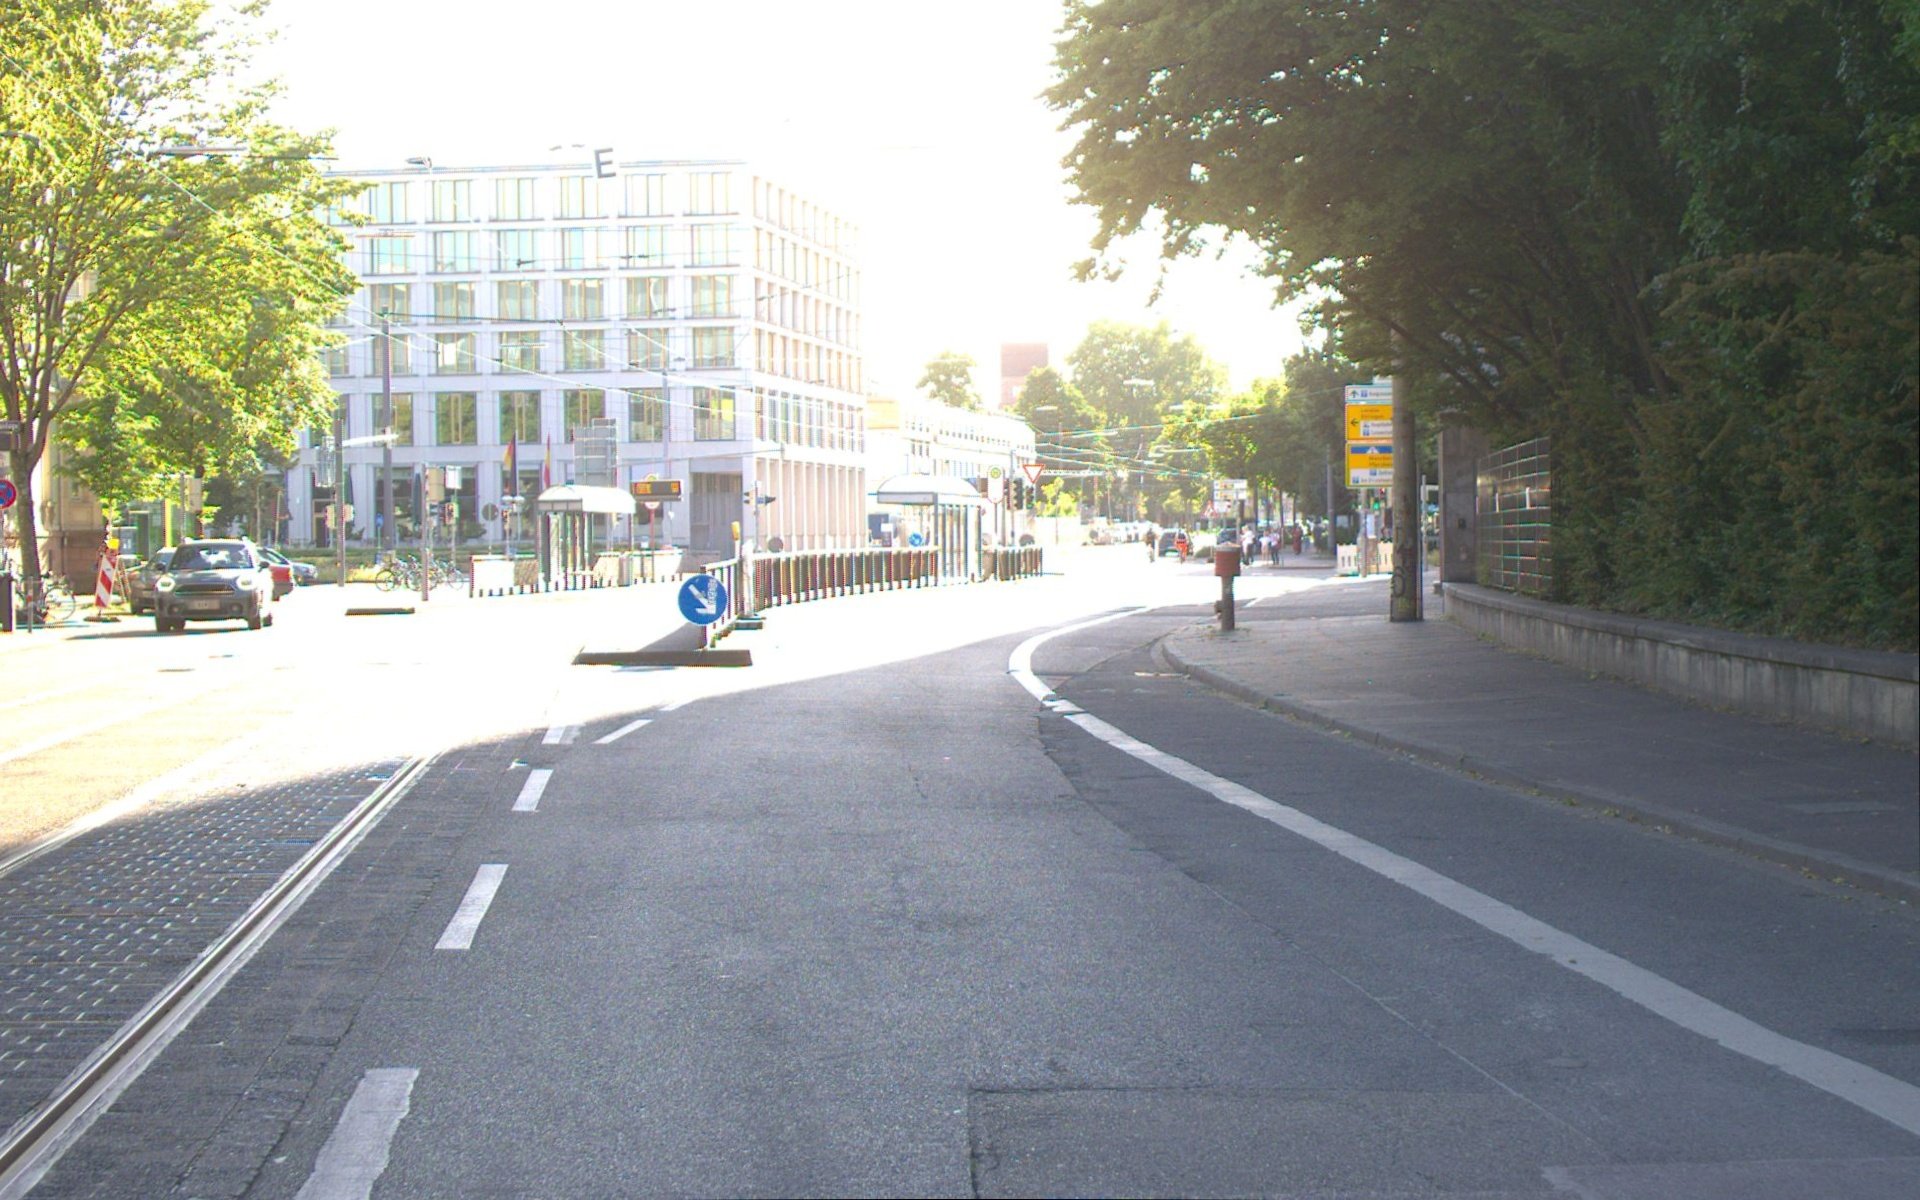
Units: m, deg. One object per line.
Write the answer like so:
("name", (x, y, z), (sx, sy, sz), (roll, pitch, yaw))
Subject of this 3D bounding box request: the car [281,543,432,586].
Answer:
("car", (-19.322, -1.125, 110.077), (4.500, 1.346, 1.590), (0, 0, -24))

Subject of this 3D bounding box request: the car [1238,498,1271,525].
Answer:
("car", (17.016, -5.104, 198.624), (1.685, 1.495, 3.507), (1, 1, 8))

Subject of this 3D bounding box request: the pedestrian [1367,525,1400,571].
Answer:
("pedestrian", (15.981, -1.955, 129.744), (1.039, 1.715, 1.035), (-1, 1, -3))

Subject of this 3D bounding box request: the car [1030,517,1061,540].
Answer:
("car", (6.367, -5.336, 256.549), (1.820, 1.706, 3.804), (-1, 1, 8))

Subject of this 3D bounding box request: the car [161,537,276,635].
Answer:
("car", (-12.973, -0.280, 60.319), (1.870, 1.595, 4.428), (-1, 2, -11))

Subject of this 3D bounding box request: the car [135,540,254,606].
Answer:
("car", (-17.064, -0.618, 76.799), (1.706, 1.405, 4.292), (1, 1, 0))

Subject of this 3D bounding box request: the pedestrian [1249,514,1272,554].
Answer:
("pedestrian", (13.723, -3.024, 157.073), (0.847, 1.778, 0.780), (-1, 1, -7))

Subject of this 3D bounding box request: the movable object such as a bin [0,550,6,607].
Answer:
("movable object such as a bin", (-18.963, -0.411, 66.891), (0.425, 1.122, 1.147), (-1, 1, 2))

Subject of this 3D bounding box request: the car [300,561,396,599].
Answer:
("car", (-24.909, -0.811, 139.937), (3.531, 1.501, 1.522), (0, 1, 7))

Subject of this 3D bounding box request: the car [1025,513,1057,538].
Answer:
("car", (5.786, -5.326, 245.686), (1.820, 1.706, 3.804), (-1, 1, 8))

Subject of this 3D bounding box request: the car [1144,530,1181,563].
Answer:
("car", (11.132, -2.921, 188.563), (1.685, 1.731, 3.507), (1, 1, 8))

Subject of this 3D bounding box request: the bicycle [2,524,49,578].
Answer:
("bicycle", (-24.583, -1.301, 90.471), (0.717, 1.393, 3.011), (-1, 1, -6))
